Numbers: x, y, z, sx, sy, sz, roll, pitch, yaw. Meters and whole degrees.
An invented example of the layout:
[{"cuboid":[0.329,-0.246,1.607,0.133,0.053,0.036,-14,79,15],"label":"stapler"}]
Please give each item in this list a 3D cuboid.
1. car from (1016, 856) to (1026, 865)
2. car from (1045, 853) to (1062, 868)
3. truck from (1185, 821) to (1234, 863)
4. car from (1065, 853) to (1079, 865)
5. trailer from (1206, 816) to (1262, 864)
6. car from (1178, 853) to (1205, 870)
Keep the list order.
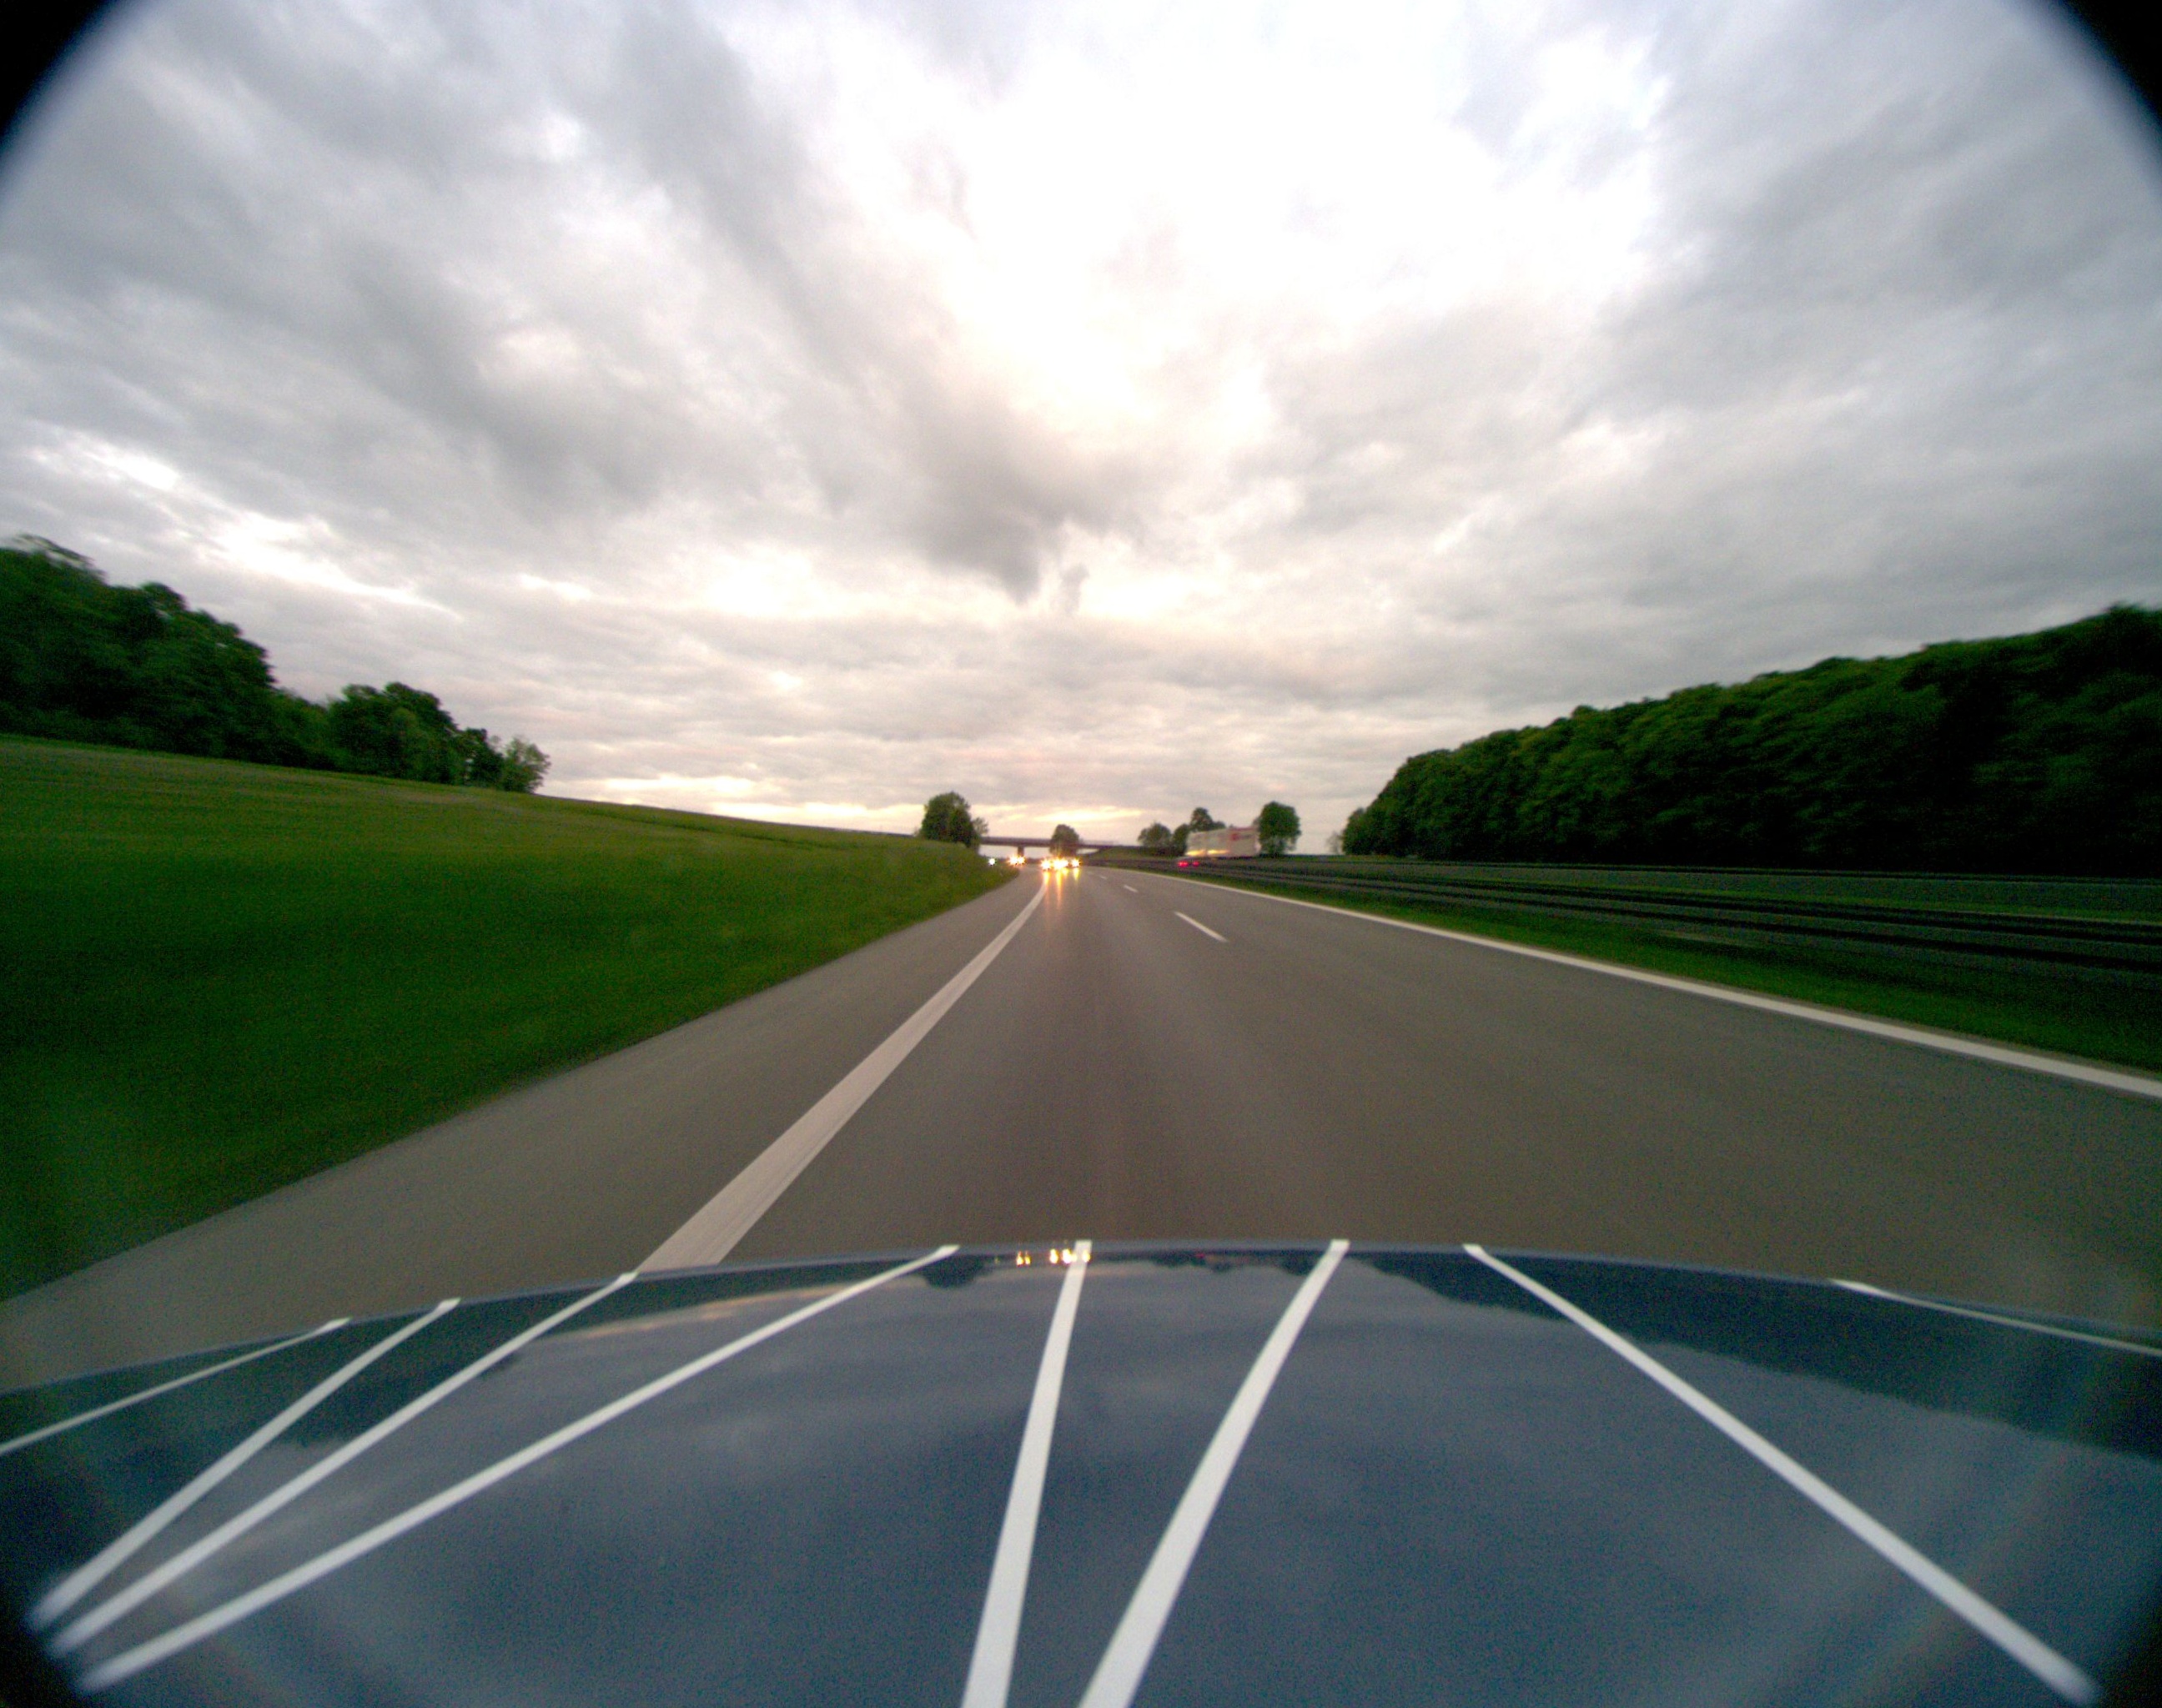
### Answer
[{"cuboid":[-12.647,1.384,160.454,1.920,1.826,3.999,1,-1,-6],"label":"car"},{"cuboid":[-2.955,0.671,82.054,1.682,1.504,3.998,1,0,-4],"label":"car"},{"cuboid":[13.905,-1.228,83.305,2.873,4.256,10.061,-1,0,-5],"label":"truck"},{"cuboid":[-1.202,0.675,99.516,1.660,1.470,3.999,-1,0,-2],"label":"car"},{"cuboid":[14.661,-1.257,73.649,2.840,4.292,9.289,-1,0,-4],"label":"trailer"},{"cuboid":[10.505,0.711,72.375,1.659,1.526,4.465,1,0,-3],"label":"car"}]
